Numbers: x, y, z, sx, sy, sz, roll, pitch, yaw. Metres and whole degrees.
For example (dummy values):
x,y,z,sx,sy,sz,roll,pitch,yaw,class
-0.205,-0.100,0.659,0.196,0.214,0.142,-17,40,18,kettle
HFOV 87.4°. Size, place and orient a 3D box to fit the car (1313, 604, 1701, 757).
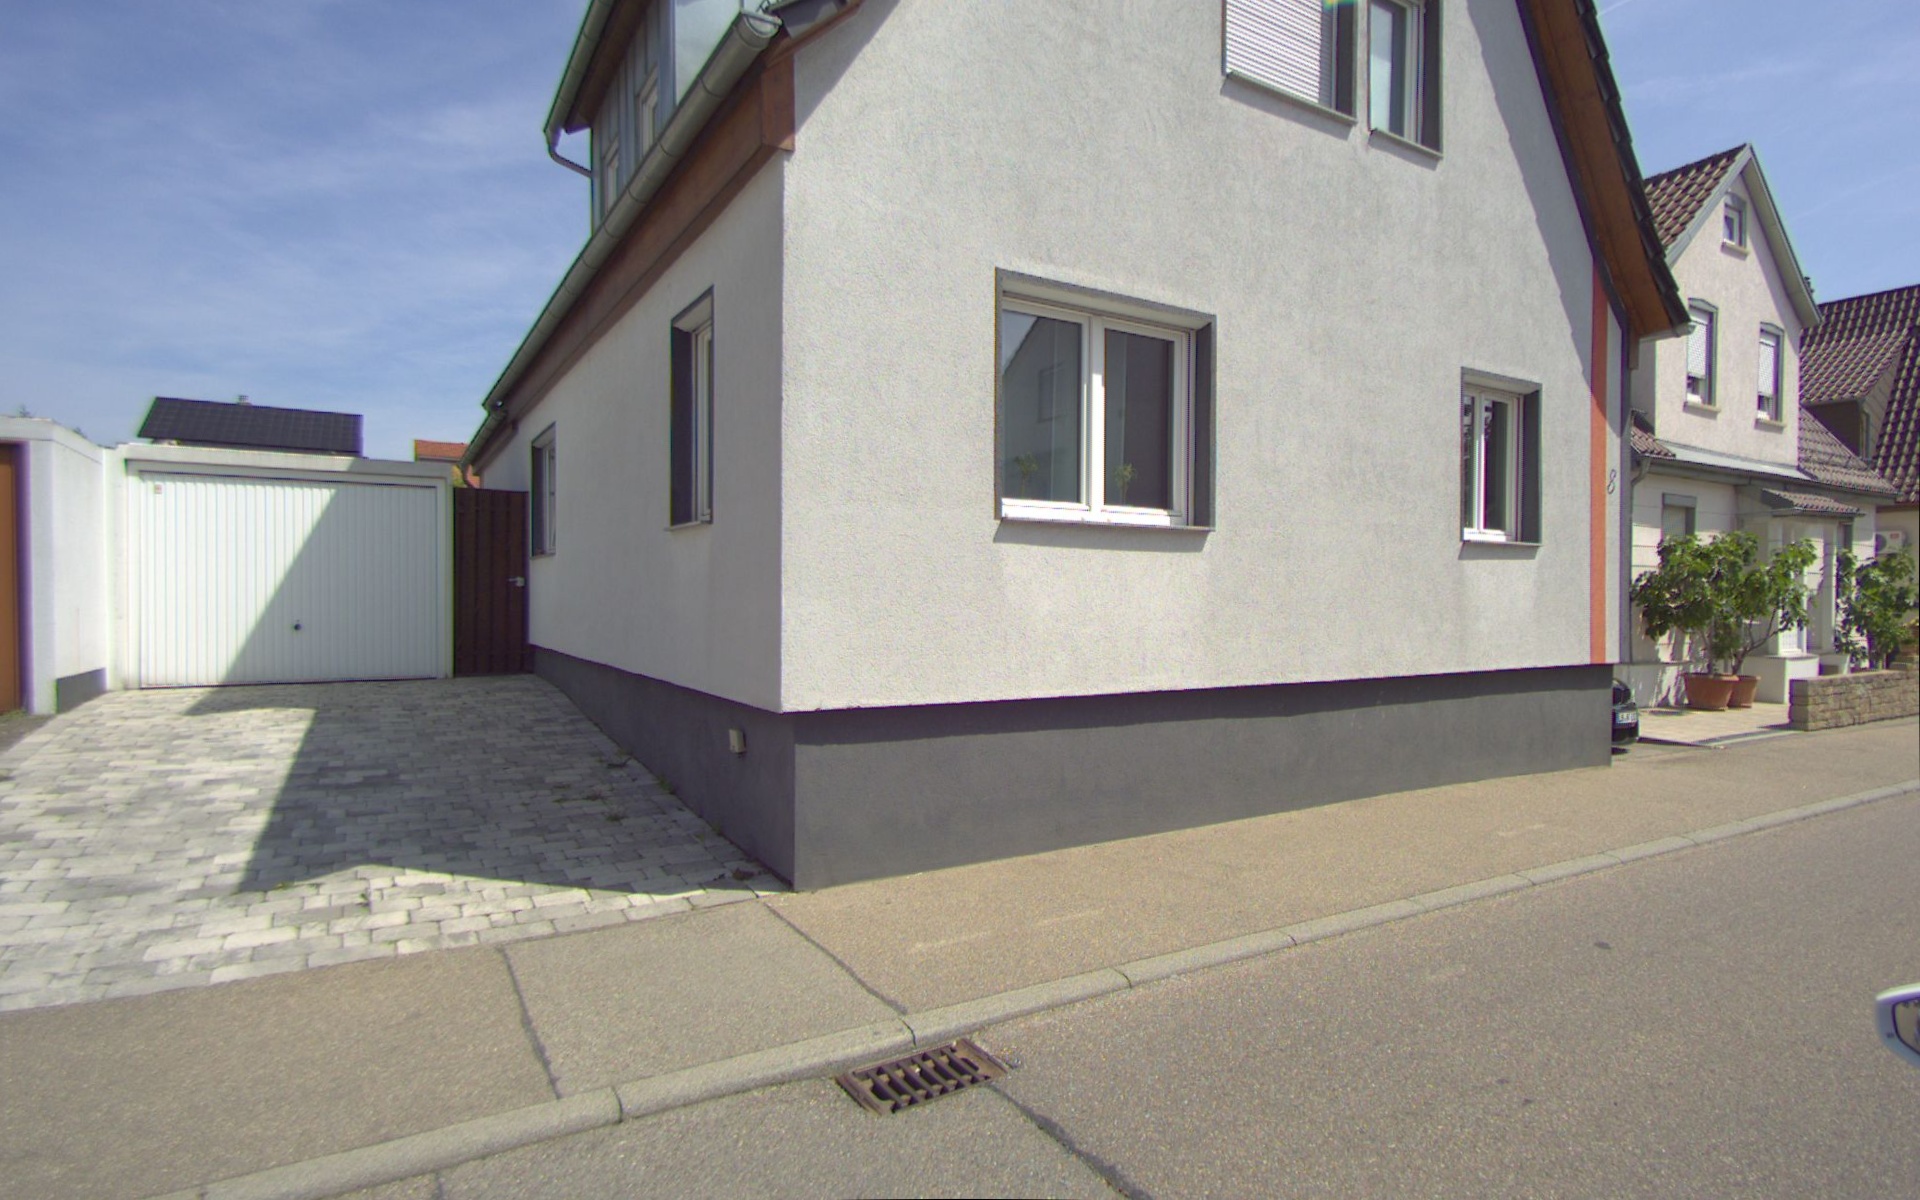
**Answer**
x,y,z,sx,sy,sz,roll,pitch,yaw,class
6.320,0.812,12.061,1.681,1.501,3.822,1,0,-28,car
